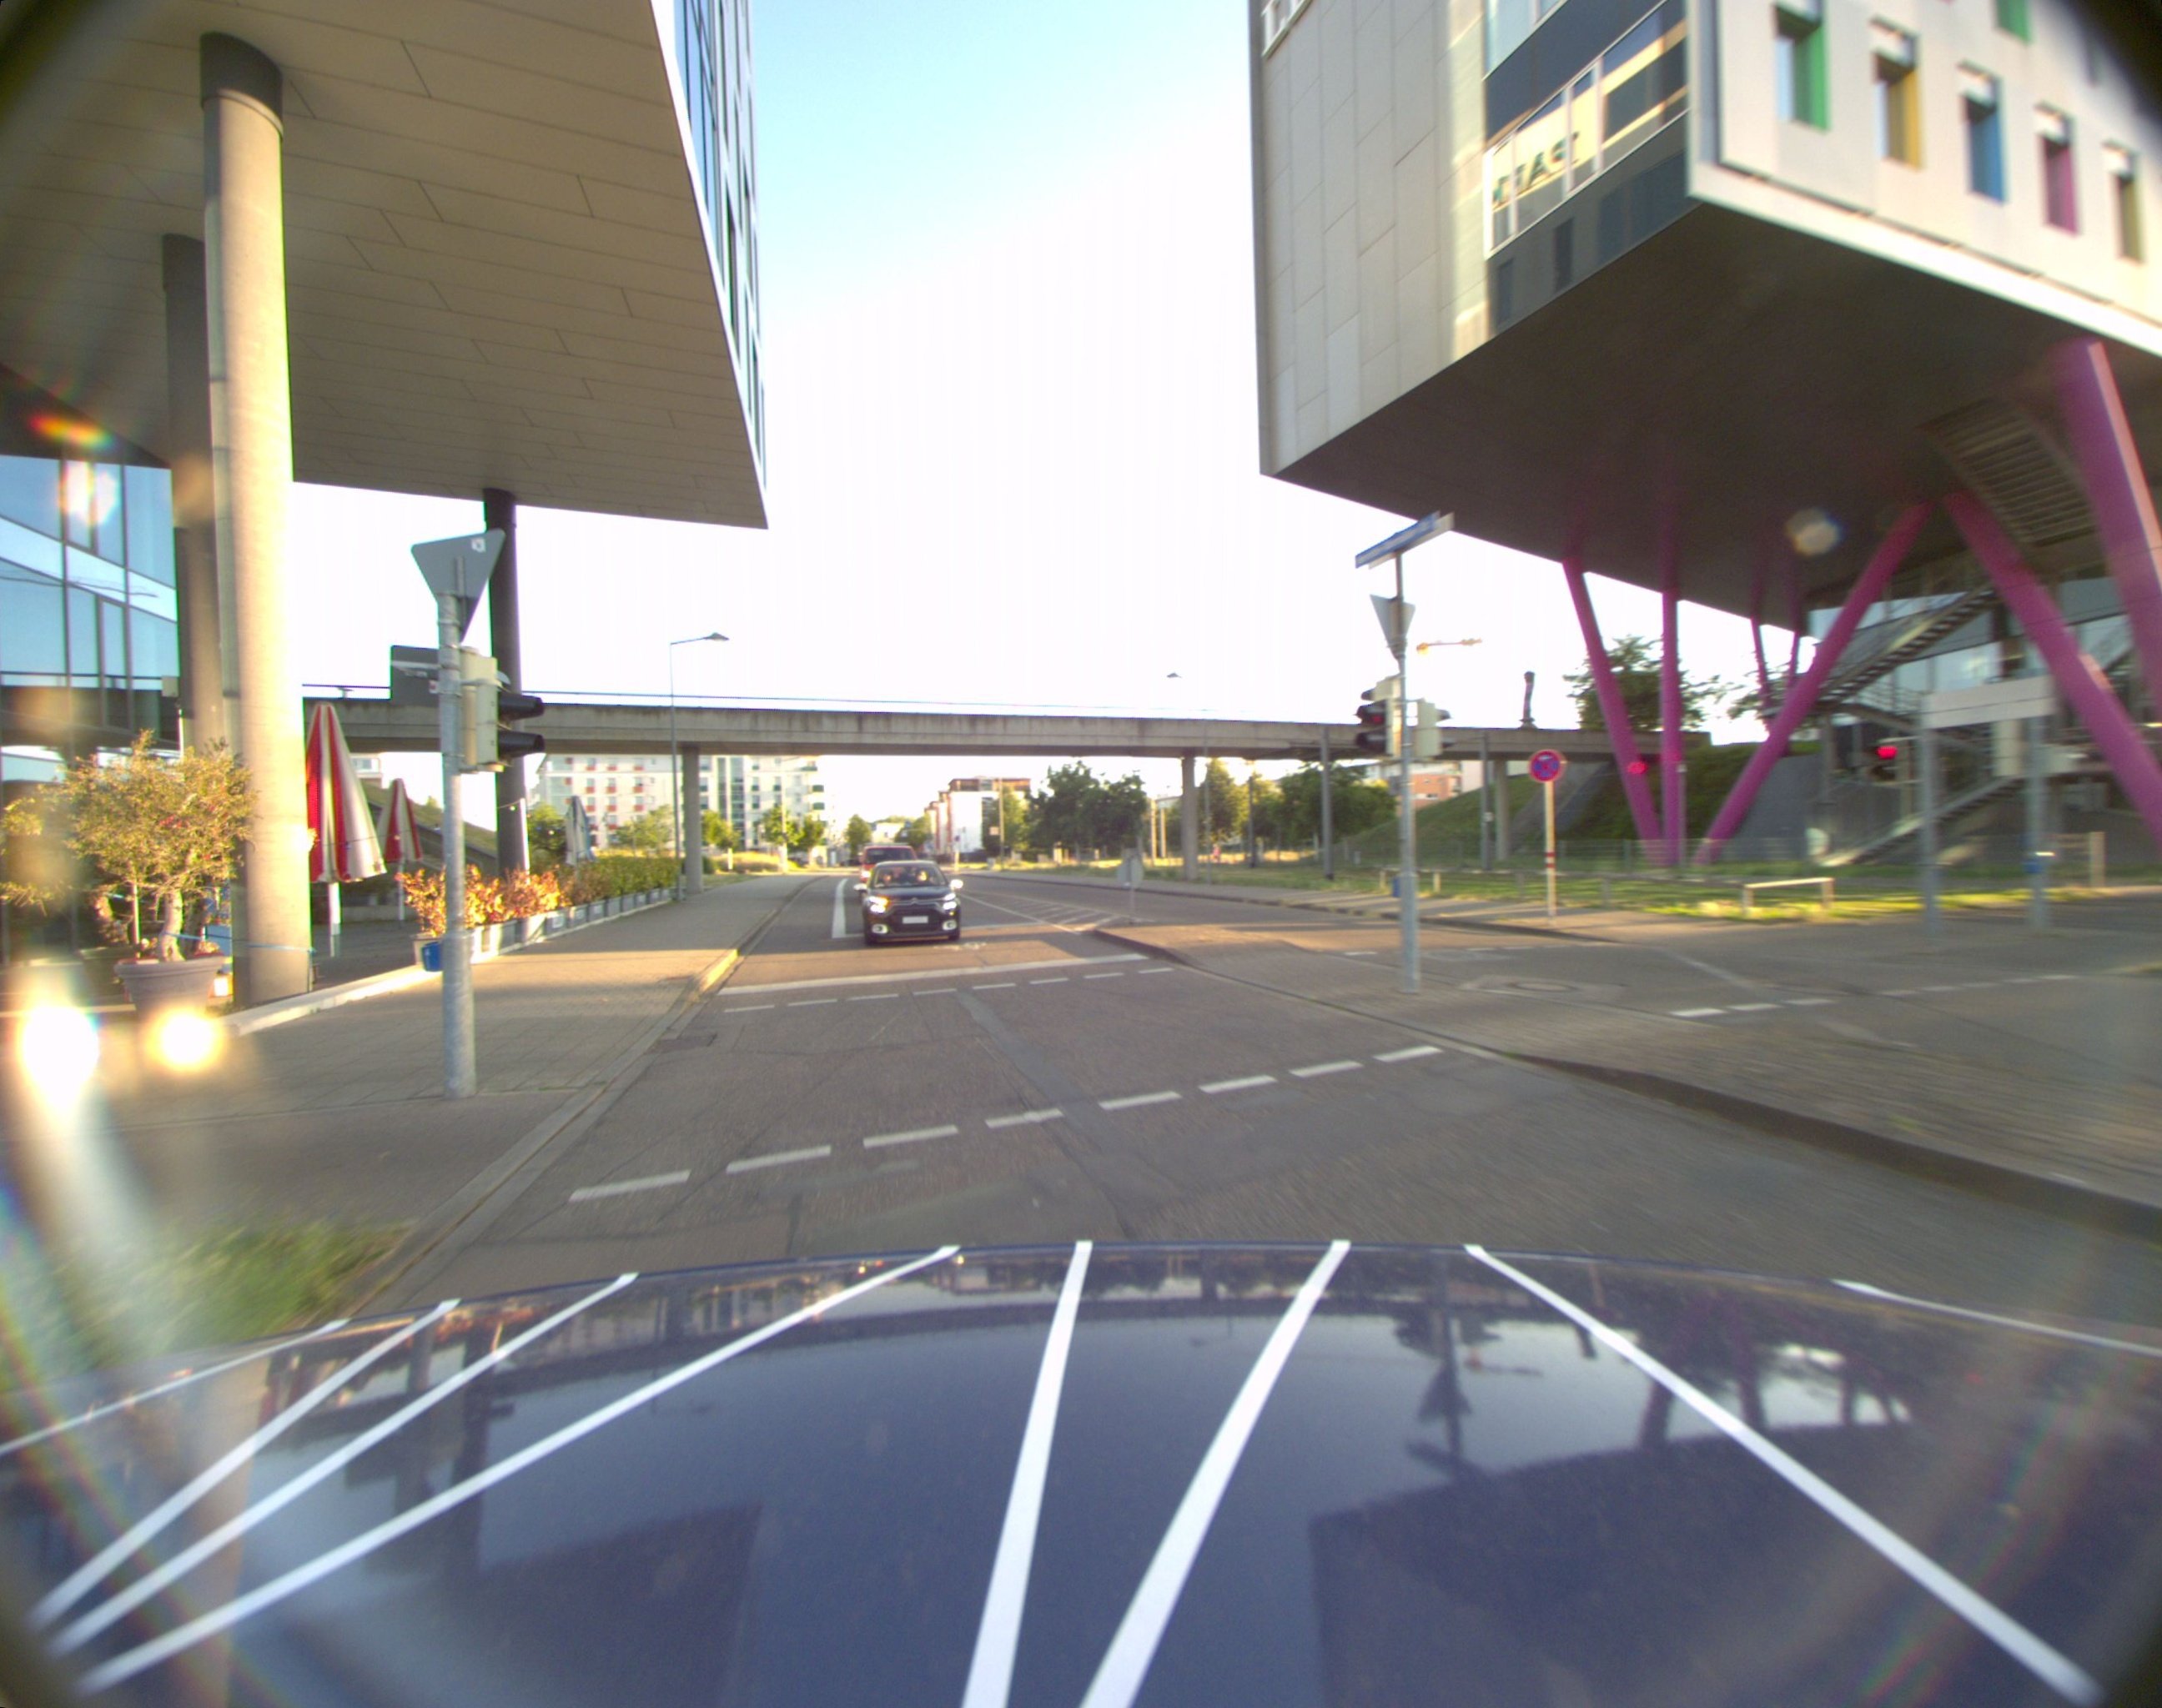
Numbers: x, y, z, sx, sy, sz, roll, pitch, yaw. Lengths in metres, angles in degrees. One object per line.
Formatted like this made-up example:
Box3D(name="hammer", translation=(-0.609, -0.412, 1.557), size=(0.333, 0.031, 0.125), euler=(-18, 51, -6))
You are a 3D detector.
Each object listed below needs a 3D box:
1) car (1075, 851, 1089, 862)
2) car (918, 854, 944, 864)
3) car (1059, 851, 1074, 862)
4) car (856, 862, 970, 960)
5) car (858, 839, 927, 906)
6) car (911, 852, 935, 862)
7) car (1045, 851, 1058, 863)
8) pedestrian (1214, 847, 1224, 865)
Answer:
Box3D(name="car", translation=(0.131, 0.322, 123.600), size=(1.871, 1.711, 3.843), euler=(-2, 0, -5))
Box3D(name="car", translation=(-26.406, 0.930, 133.931), size=(4.393, 1.551, 1.837), euler=(-2, 1, -15))
Box3D(name="car", translation=(-2.358, 0.399, 123.152), size=(1.872, 1.711, 3.842), euler=(-2, 0, -7))
Box3D(name="car", translation=(-3.415, 0.975, 14.868), size=(1.762, 1.543, 4.065), euler=(-2, 0, -18))
Box3D(name="car", translation=(-6.527, 0.577, 25.952), size=(1.933, 1.979, 4.815), euler=(-3, 1, -17))
Box3D(name="car", translation=(-33.927, 0.615, 163.115), size=(4.751, 2.002, 1.996), euler=(-2, 1, -19))
Box3D(name="car", translation=(-4.816, 0.479, 122.827), size=(1.871, 1.711, 3.843), euler=(-2, 0, -4))
Box3D(name="pedestrian", translation=(12.403, 0.144, 68.479), size=(0.780, 1.602, 0.416), euler=(-2, 1, -4))
